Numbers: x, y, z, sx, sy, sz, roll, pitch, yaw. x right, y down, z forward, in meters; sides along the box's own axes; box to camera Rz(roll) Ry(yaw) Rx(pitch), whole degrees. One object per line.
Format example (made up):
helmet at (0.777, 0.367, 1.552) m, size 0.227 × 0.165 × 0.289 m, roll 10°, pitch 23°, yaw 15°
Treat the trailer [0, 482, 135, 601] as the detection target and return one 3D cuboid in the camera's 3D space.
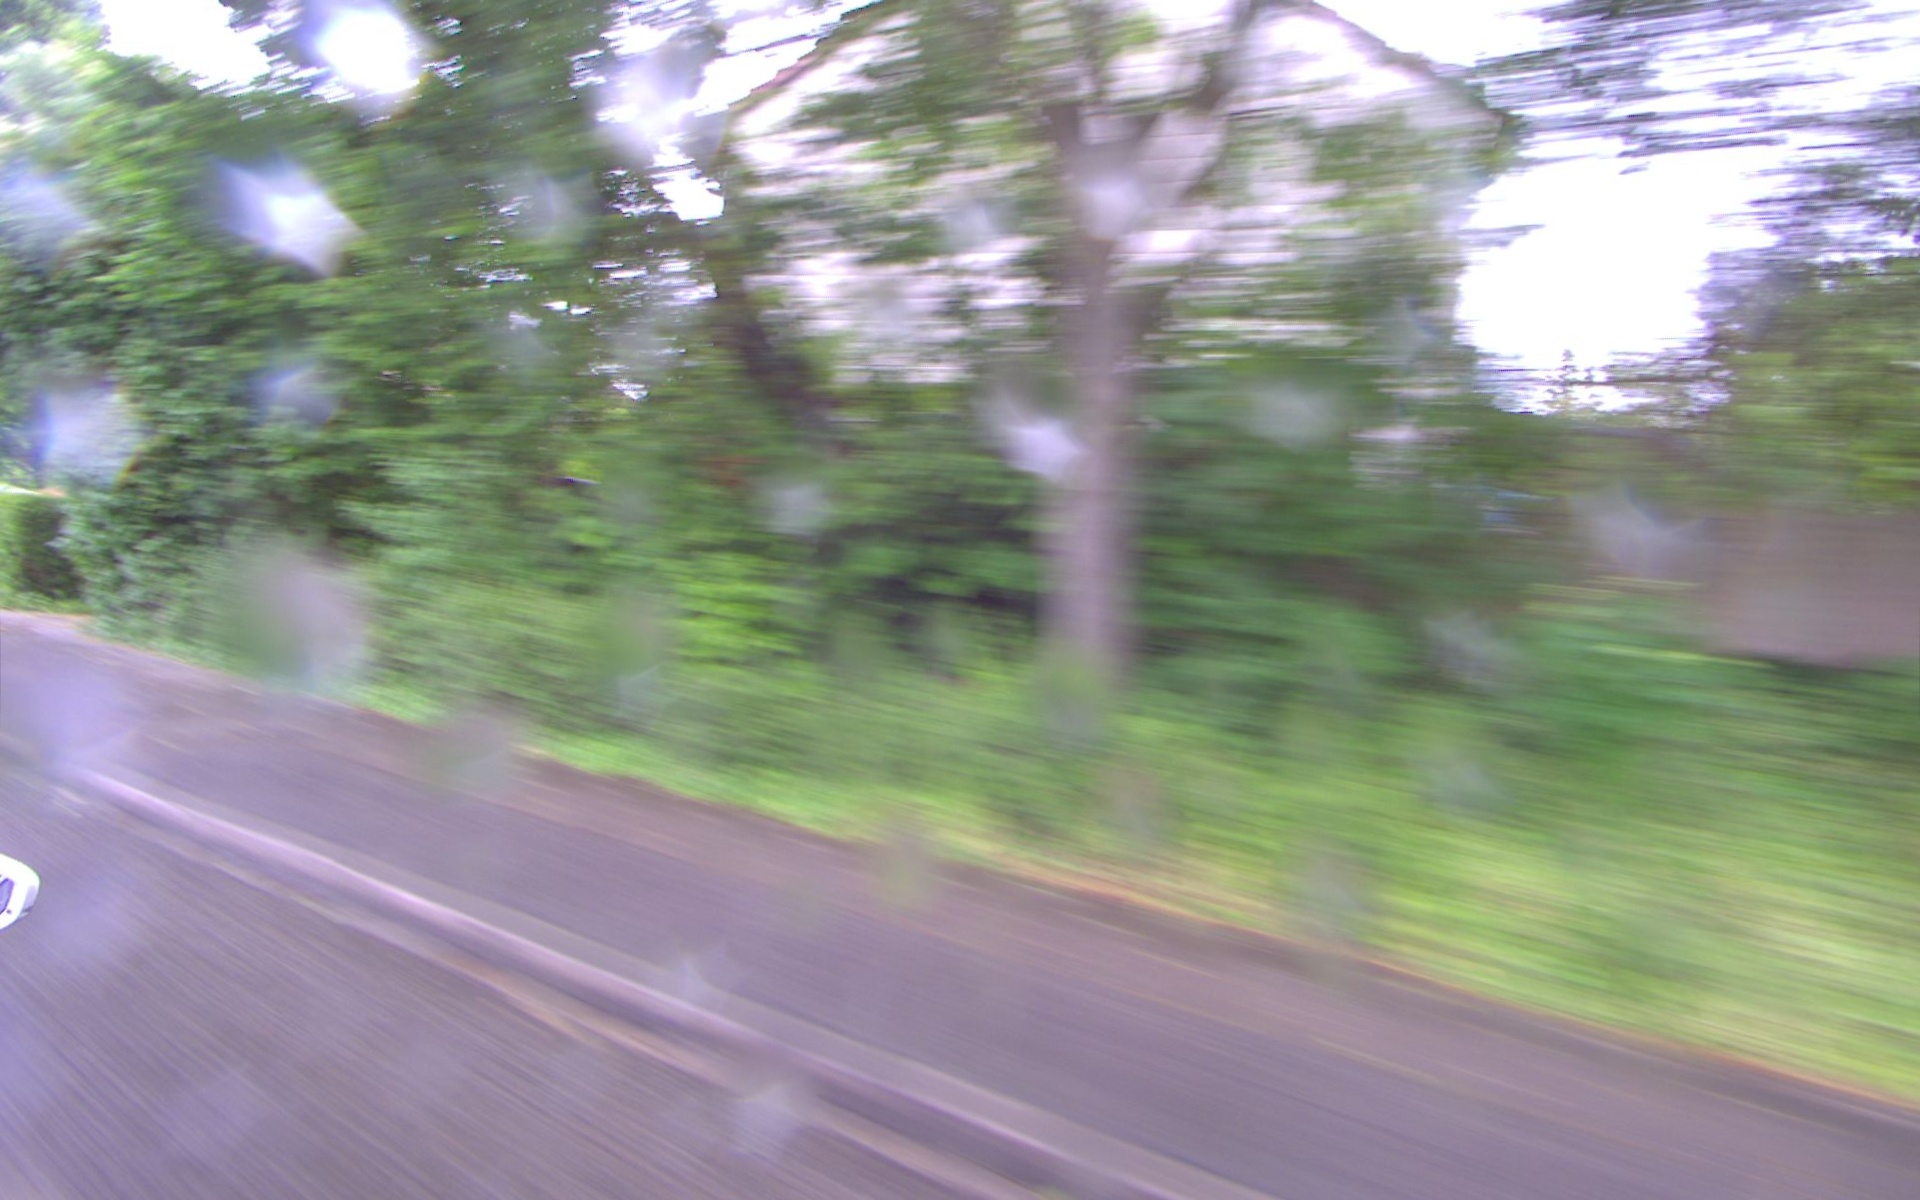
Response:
trailer at (-16.075, -1.134, 16.811) m, size 1.463 × 1.583 × 2.996 m, roll 7°, pitch -8°, yaw 30°
